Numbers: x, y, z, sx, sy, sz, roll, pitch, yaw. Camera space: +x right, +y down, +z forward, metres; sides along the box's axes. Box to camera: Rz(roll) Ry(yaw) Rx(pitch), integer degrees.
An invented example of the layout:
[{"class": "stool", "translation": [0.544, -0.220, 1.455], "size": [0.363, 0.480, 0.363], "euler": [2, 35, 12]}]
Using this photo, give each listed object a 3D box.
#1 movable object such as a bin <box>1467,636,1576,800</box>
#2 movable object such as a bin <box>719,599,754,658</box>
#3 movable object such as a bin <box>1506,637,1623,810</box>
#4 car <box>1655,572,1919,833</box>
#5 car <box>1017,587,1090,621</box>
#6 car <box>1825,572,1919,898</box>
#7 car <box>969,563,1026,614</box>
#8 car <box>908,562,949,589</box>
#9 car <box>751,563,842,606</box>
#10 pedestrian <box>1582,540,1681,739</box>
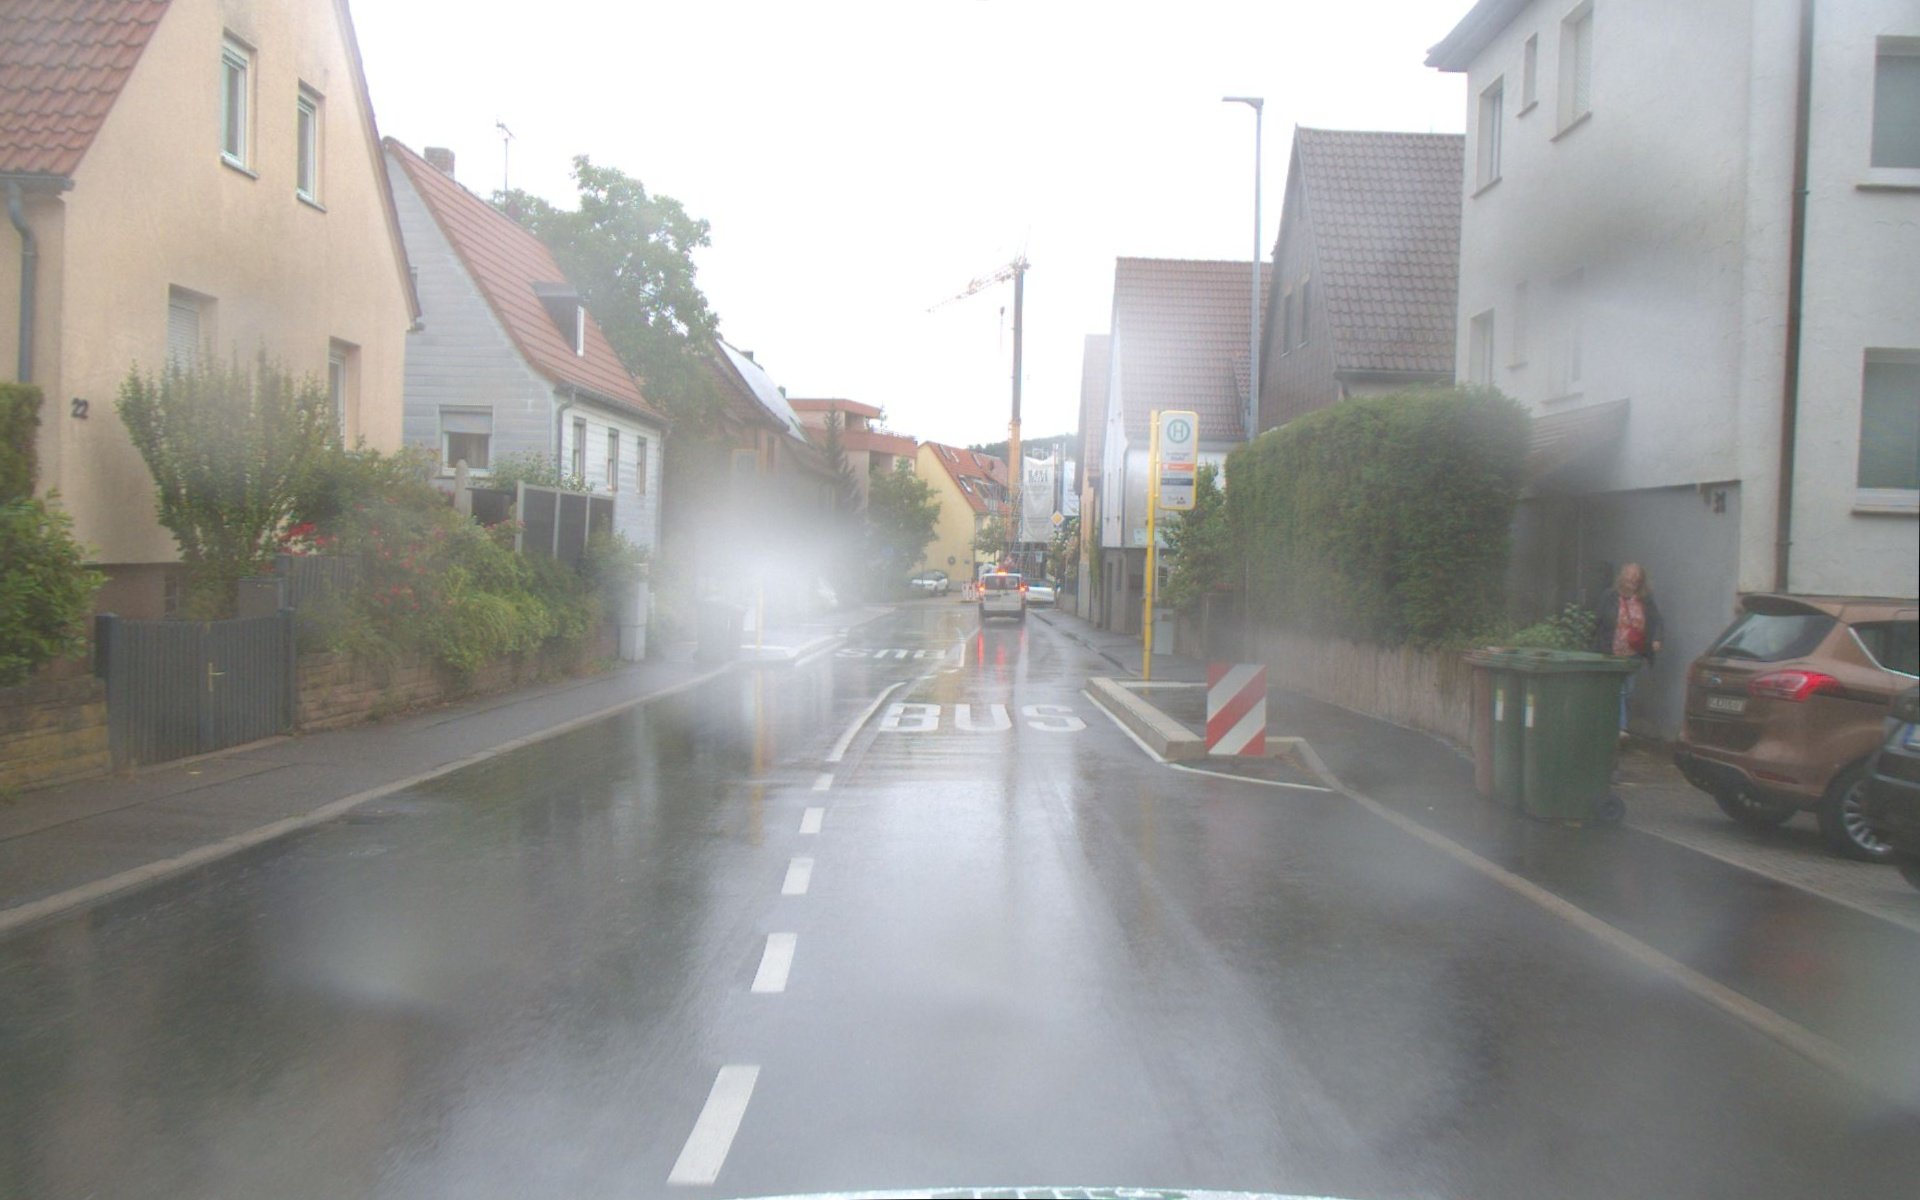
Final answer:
[{"class": "movable object such as a bin", "translation": [3.925, 0.811, 11.581], "size": [0.556, 1.095, 0.537], "euler": [1, 1, -2]}, {"class": "movable object such as a bin", "translation": [-3.883, 0.487, 28.785], "size": [0.458, 0.955, 0.455], "euler": [5, 3, 3]}, {"class": "movable object such as a bin", "translation": [4.006, 0.807, 10.992], "size": [0.556, 1.095, 0.537], "euler": [1, 1, -2]}, {"class": "car", "translation": [6.456, 0.589, 10.531], "size": [3.405, 1.536, 1.580], "euler": [0, 1, 0]}, {"class": "car", "translation": [5.176, 0.208, 91.093], "size": [3.902, 1.825, 1.805], "euler": [1, 0, 7]}, {"class": "car", "translation": [6.166, 0.832, 7.638], "size": [3.376, 1.506, 1.580], "euler": [7, 1, 0]}, {"class": "car", "translation": [1.450, -0.447, 64.874], "size": [2.136, 1.902, 4.000], "euler": [1, 0, 0]}, {"class": "car", "translation": [-2.072, -1.651, 109.662], "size": [1.566, 1.707, 3.941], "euler": [2, 2, 16]}, {"class": "car", "translation": [-6.759, -0.661, 68.664], "size": [3.472, 1.555, 1.664], "euler": [3, 1, 2]}, {"class": "pedestrian", "translation": [6.063, 0.346, 14.956], "size": [0.615, 1.756, 0.619], "euler": [1, 1, 1]}]
